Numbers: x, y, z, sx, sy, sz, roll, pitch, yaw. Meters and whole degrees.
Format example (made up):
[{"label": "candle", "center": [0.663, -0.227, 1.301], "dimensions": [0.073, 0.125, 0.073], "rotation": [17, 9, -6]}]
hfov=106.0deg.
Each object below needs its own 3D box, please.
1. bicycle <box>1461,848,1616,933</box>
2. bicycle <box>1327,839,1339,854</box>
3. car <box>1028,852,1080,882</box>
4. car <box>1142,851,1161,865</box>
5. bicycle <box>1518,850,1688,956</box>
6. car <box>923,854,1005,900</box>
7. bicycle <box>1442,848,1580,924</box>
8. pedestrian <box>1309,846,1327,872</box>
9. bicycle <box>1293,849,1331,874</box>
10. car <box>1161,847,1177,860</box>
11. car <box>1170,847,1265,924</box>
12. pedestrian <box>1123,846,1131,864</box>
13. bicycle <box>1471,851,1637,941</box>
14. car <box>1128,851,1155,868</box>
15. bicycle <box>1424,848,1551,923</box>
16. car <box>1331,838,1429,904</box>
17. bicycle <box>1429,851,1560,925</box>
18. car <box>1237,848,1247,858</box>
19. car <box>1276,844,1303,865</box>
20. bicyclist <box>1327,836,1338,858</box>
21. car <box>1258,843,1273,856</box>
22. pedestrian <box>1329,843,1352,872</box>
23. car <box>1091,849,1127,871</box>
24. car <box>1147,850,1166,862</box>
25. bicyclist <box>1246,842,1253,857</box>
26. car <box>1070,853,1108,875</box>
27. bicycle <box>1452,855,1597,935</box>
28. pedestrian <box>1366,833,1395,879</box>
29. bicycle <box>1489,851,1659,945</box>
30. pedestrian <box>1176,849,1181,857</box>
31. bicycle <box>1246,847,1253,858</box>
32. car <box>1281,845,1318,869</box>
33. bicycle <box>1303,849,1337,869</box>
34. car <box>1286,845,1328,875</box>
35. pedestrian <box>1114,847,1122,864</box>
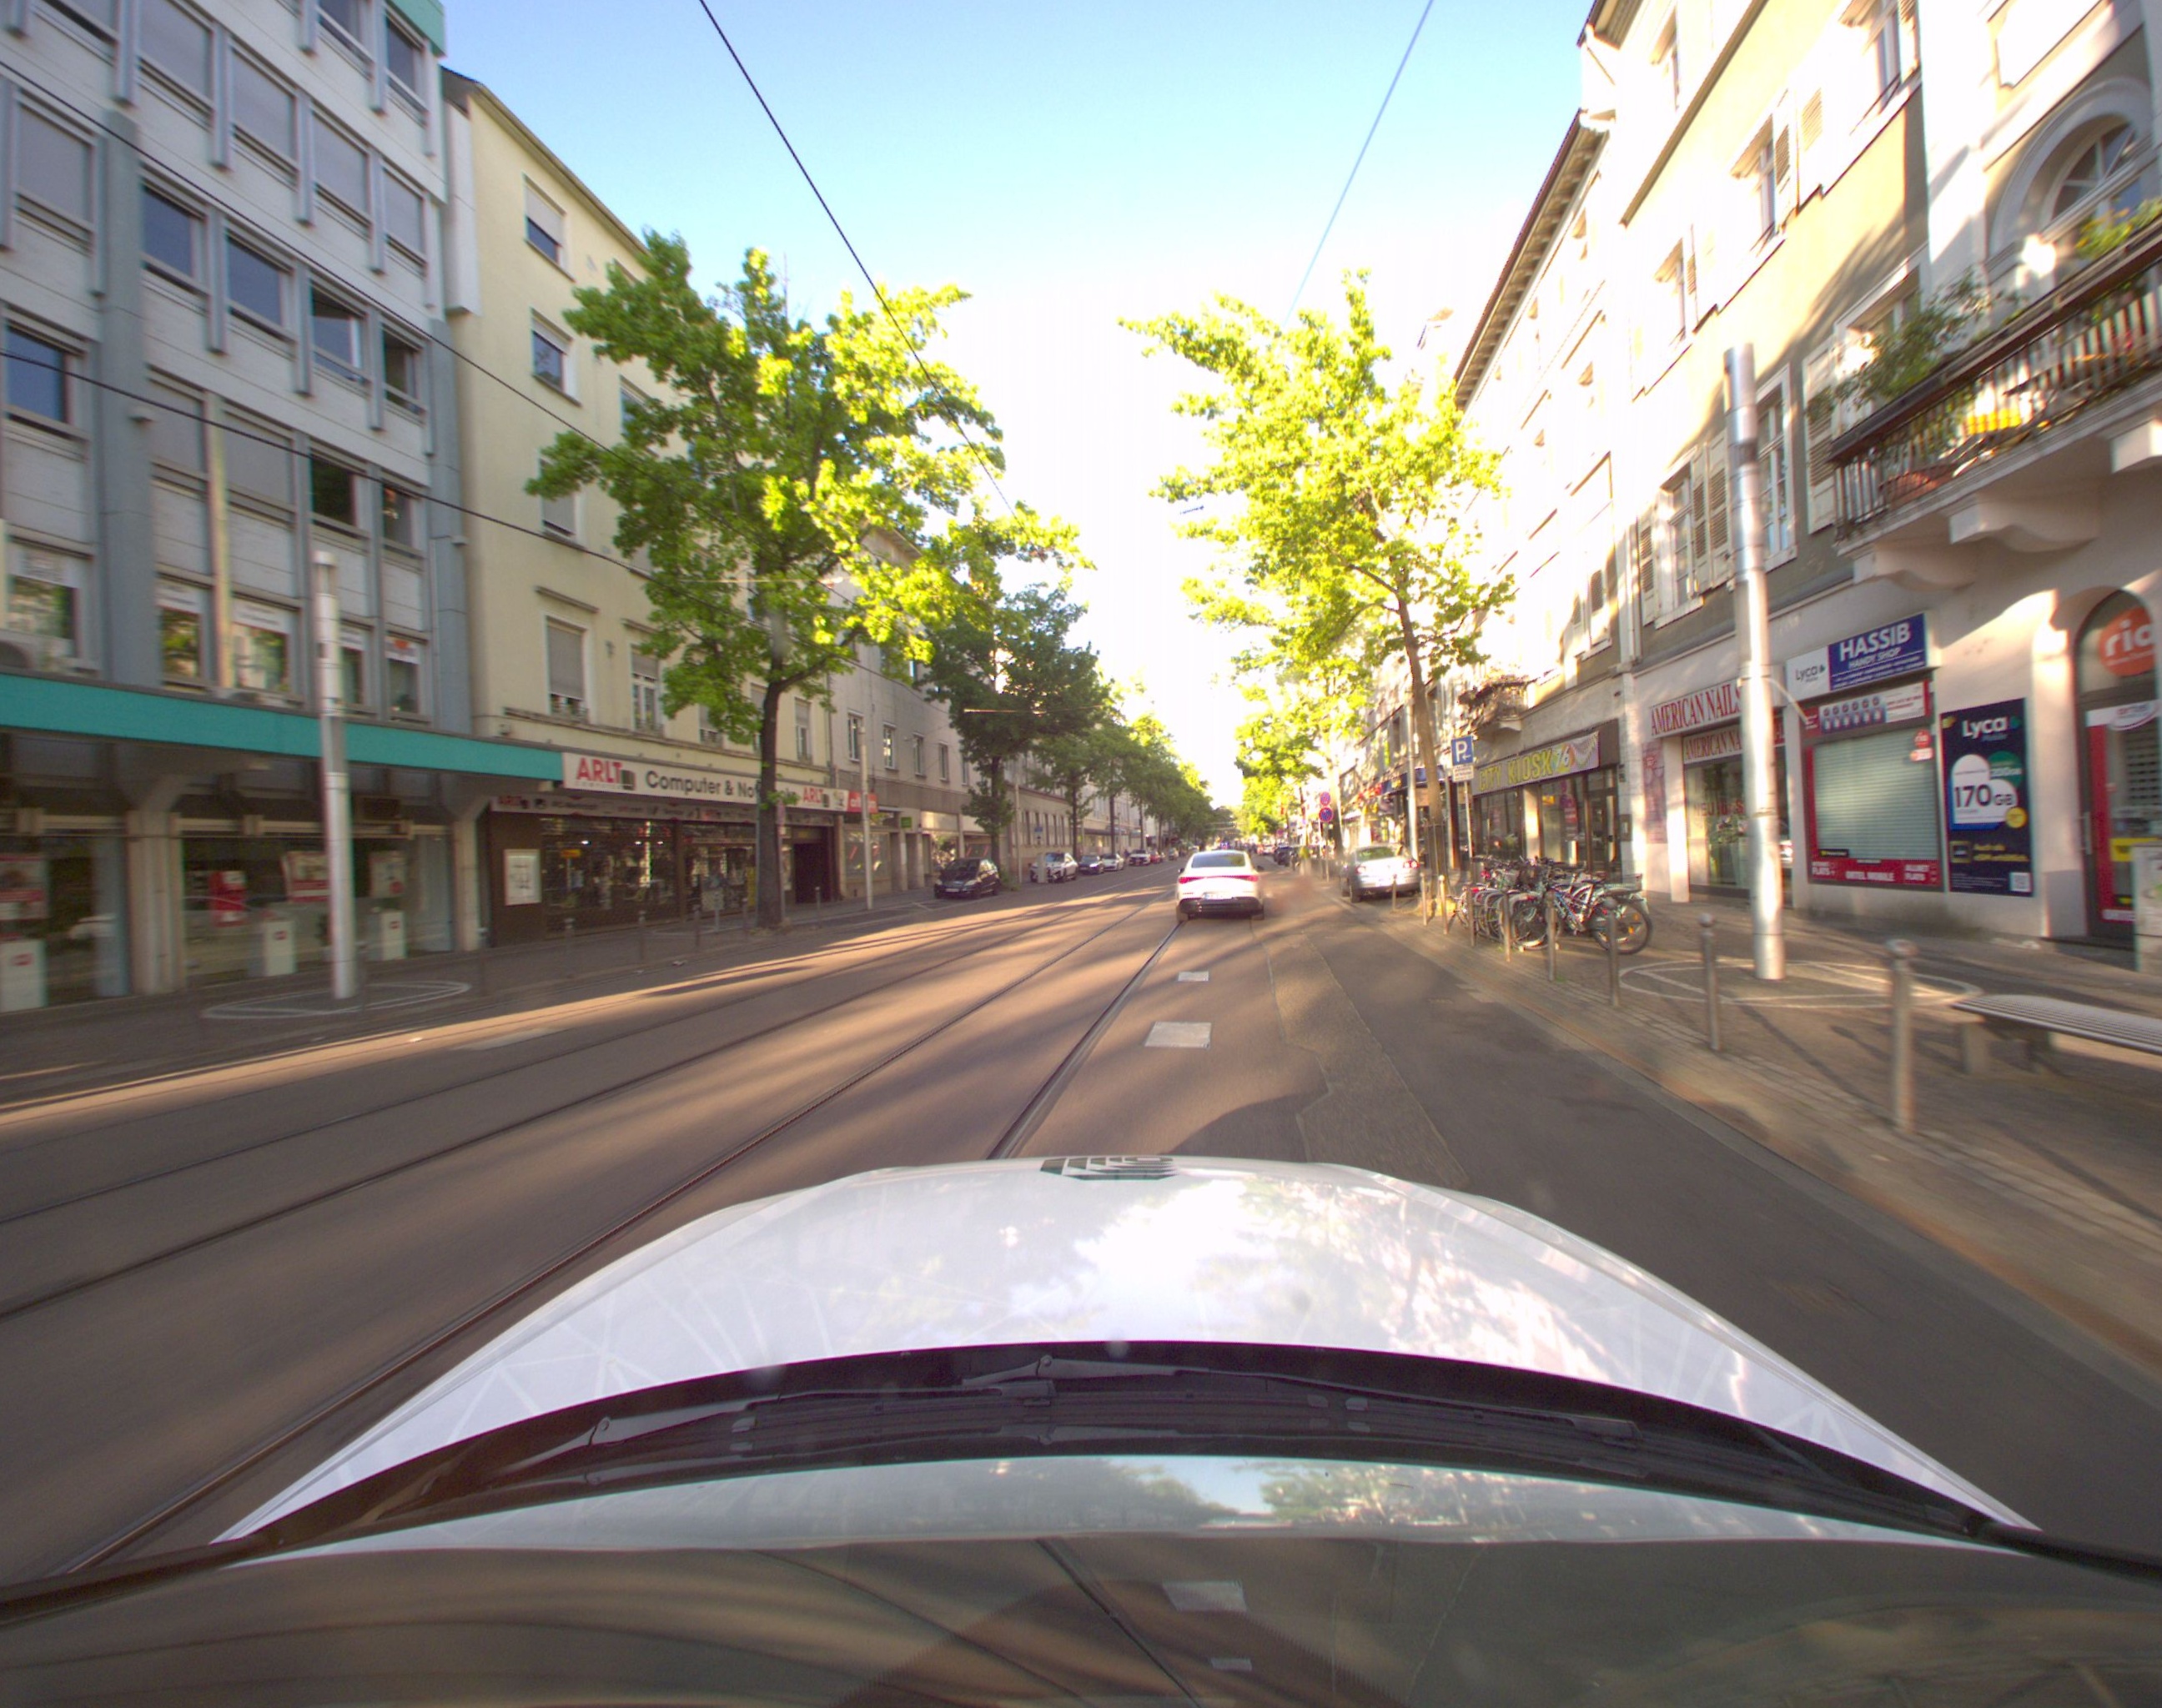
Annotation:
[{"label": "bicycle", "center": [6.673, 0.539, 11.959], "dimensions": [1.853, 1.154, 0.564], "rotation": [-3, -1, 13]}, {"label": "bicycle", "center": [19.436, -0.581, 62.821], "dimensions": [0.643, 1.074, 1.866], "rotation": [-4, 0, 10]}, {"label": "car", "center": [-1.485, 0.720, 47.526], "dimensions": [1.949, 1.640, 4.828], "rotation": [0, 0, 12]}, {"label": "car", "center": [8.183, 0.435, 94.243], "dimensions": [1.677, 1.499, 4.248], "rotation": [-3, 0, 12]}, {"label": "bicycle", "center": [6.224, 0.559, 9.813], "dimensions": [0.463, 1.154, 1.666], "rotation": [-2, -1, -28]}, {"label": "car", "center": [-4.673, 0.892, 33.229], "dimensions": [1.948, 1.640, 4.014], "rotation": [-3, 0, 12]}, {"label": "bicycle", "center": [6.935, 0.518, 13.223], "dimensions": [1.853, 1.154, 0.564], "rotation": [-3, -1, 13]}, {"label": "pedestrian", "center": [11.810, 0.243, 40.557], "dimensions": [0.811, 1.265, 0.589], "rotation": [-3, 0, 16]}, {"label": "bicycle", "center": [12.013, 0.386, 42.415], "dimensions": [1.709, 1.138, 0.550], "rotation": [-5, -1, 32]}, {"label": "car", "center": [12.569, -0.074, 115.926], "dimensions": [1.540, 1.796, 3.183], "rotation": [-3, 0, 20]}, {"label": "car", "center": [3.109, 0.618, 18.109], "dimensions": [1.855, 1.469, 4.056], "rotation": [-1, 1, 12]}, {"label": "pedestrian", "center": [5.054, 0.090, 89.313], "dimensions": [0.703, 2.004, 0.677], "rotation": [-3, 0, 9]}, {"label": "bicycle", "center": [6.496, 0.581, 11.266], "dimensions": [1.853, 1.154, 0.564], "rotation": [-3, -1, 13]}, {"label": "car", "center": [6.287, 0.548, 84.276], "dimensions": [1.948, 1.692, 5.030], "rotation": [-3, 0, 12]}, {"label": "bicycle", "center": [7.177, 0.562, 14.469], "dimensions": [1.853, 1.154, 0.564], "rotation": [-5, -1, 13]}, {"label": "car", "center": [7.961, 0.415, 22.069], "dimensions": [1.764, 1.440, 4.437], "rotation": [-6, -1, 12]}, {"label": "bicycle", "center": [6.985, 0.576, 13.829], "dimensions": [1.853, 1.154, 0.564], "rotation": [-3, -1, 13]}, {"label": "car", "center": [41.002, -0.267, 207.650], "dimensions": [1.983, 2.541, 4.007], "rotation": [-3, 0, 6]}, {"label": "car", "center": [16.117, 0.009, 63.138], "dimensions": [1.858, 1.453, 4.121], "rotation": [-5, 0, 13]}, {"label": "bicyclist", "center": [19.451, -0.522, 62.956], "dimensions": [0.635, 1.684, 0.601], "rotation": [-4, 0, 9]}, {"label": "car", "center": [26.489, -0.695, 117.037], "dimensions": [1.980, 1.728, 4.254], "rotation": [-3, 0, 11]}, {"label": "pedestrian", "center": [12.863, 0.198, 40.305], "dimensions": [0.711, 1.387, 0.741], "rotation": [-3, 0, -26]}, {"label": "car", "center": [2.340, 0.459, 66.484], "dimensions": [1.933, 1.640, 4.926], "rotation": [-2, 0, 13]}, {"label": "car", "center": [9.578, 0.256, 103.076], "dimensions": [1.981, 1.292, 4.013], "rotation": [-3, 0, 11]}, {"label": "bicyclist", "center": [19.920, -0.526, 96.161], "dimensions": [0.720, 1.702, 0.814], "rotation": [-3, -1, 12]}, {"label": "car", "center": [0.633, 0.702, 58.688], "dimensions": [1.950, 1.412, 4.858], "rotation": [-3, 0, 9]}, {"label": "bicycle", "center": [6.819, 0.629, 12.605], "dimensions": [1.853, 1.154, 0.564], "rotation": [-3, -1, 13]}, {"label": "pedestrian", "center": [10.981, 0.072, 29.907], "dimensions": [0.798, 1.643, 0.758], "rotation": [-4, 0, 11]}, {"label": "bicycle", "center": [6.469, 0.584, 10.750], "dimensions": [1.853, 1.154, 0.349], "rotation": [-3, -1, 13]}, {"label": "pedestrian", "center": [17.358, -0.216, 144.897], "dimensions": [0.563, 1.464, 0.654], "rotation": [-3, 0, 30]}, {"label": "bicycle", "center": [19.900, -0.148, 95.980], "dimensions": [0.735, 1.188, 2.167], "rotation": [-3, -1, 12]}, {"label": "car", "center": [14.822, 0.175, 55.358], "dimensions": [1.805, 1.486, 4.007], "rotation": [-2, 0, 6]}, {"label": "bicycle", "center": [14.878, 0.314, 50.692], "dimensions": [1.848, 1.074, 0.712], "rotation": [-4, 0, 1]}, {"label": "car", "center": [12.870, 0.325, 46.484], "dimensions": [1.790, 1.458, 3.664], "rotation": [5, 1, 9]}, {"label": "pedestrian", "center": [4.027, 0.171, 89.585], "dimensions": [0.703, 1.806, 0.677], "rotation": [-3, 0, 11]}]
